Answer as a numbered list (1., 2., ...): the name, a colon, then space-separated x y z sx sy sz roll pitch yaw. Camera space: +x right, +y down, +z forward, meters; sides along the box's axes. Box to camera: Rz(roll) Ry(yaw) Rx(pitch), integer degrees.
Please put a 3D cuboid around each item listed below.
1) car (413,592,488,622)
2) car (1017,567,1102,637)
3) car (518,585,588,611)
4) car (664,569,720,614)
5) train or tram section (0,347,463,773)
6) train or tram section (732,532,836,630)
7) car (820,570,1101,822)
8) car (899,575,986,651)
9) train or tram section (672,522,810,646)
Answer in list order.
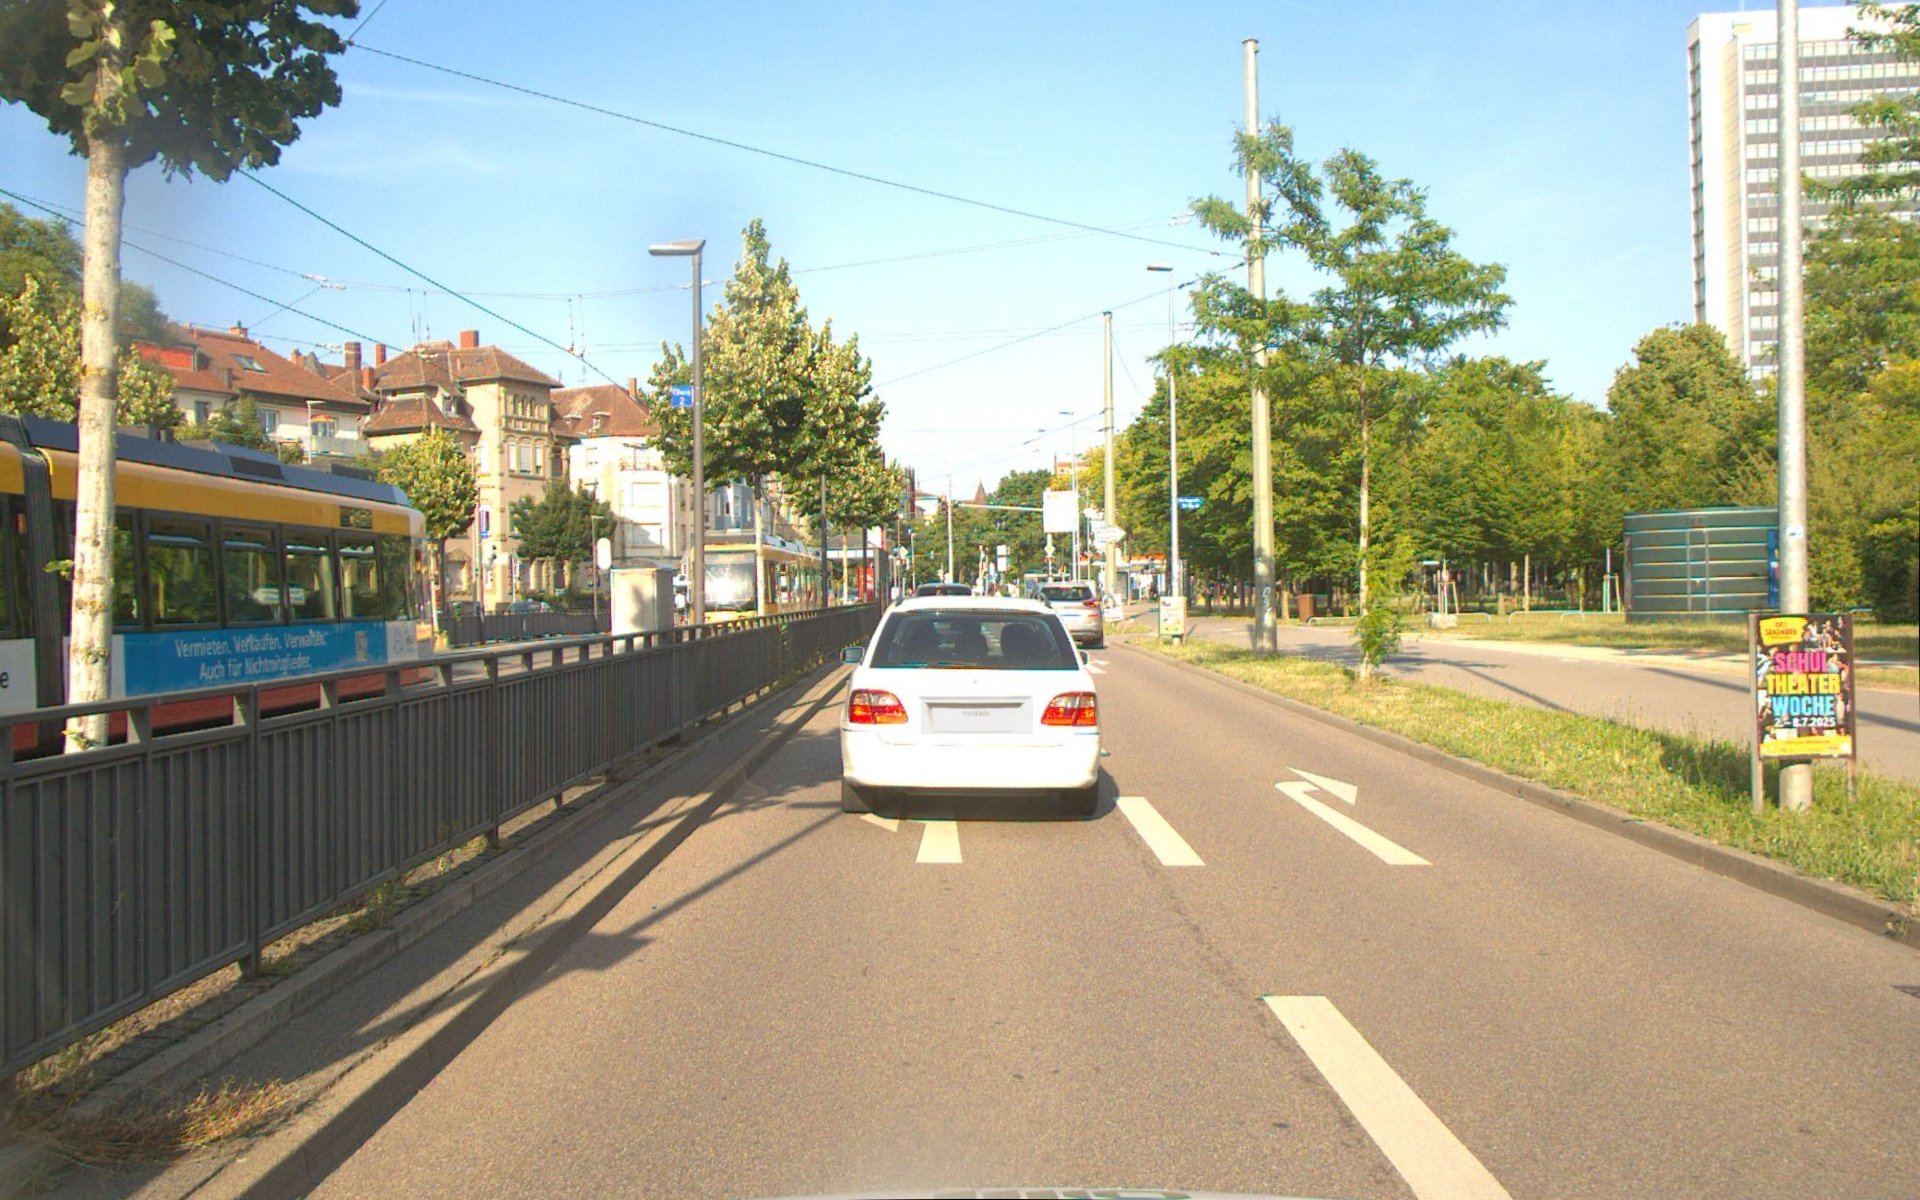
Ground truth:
1. car: -31.133 0.449 101.093 3.903 1.780 2.001 0 1 17
2. car: 2.497 0.022 41.416 1.990 1.633 4.002 -1 1 4
3. car: -26.992 -0.147 109.844 2.159 1.656 4.716 0 1 23
4. car: -17.401 -0.609 107.807 2.543 2.783 7.467 -1 1 -1
5. train or tram section: -9.732 -0.414 20.559 3.098 3.540 14.468 -1 1 -2
6. train or tram section: -6.940 -0.787 67.124 2.791 3.540 13.199 -1 1 0
7. car: 0.106 0.642 12.172 1.721 1.530 4.001 0 -2 3
8. car: -0.374 0.278 39.886 1.750 1.719 4.002 -1 1 4
9. train or tram section: -6.902 -0.574 54.155 2.791 3.540 13.200 0 1 0
